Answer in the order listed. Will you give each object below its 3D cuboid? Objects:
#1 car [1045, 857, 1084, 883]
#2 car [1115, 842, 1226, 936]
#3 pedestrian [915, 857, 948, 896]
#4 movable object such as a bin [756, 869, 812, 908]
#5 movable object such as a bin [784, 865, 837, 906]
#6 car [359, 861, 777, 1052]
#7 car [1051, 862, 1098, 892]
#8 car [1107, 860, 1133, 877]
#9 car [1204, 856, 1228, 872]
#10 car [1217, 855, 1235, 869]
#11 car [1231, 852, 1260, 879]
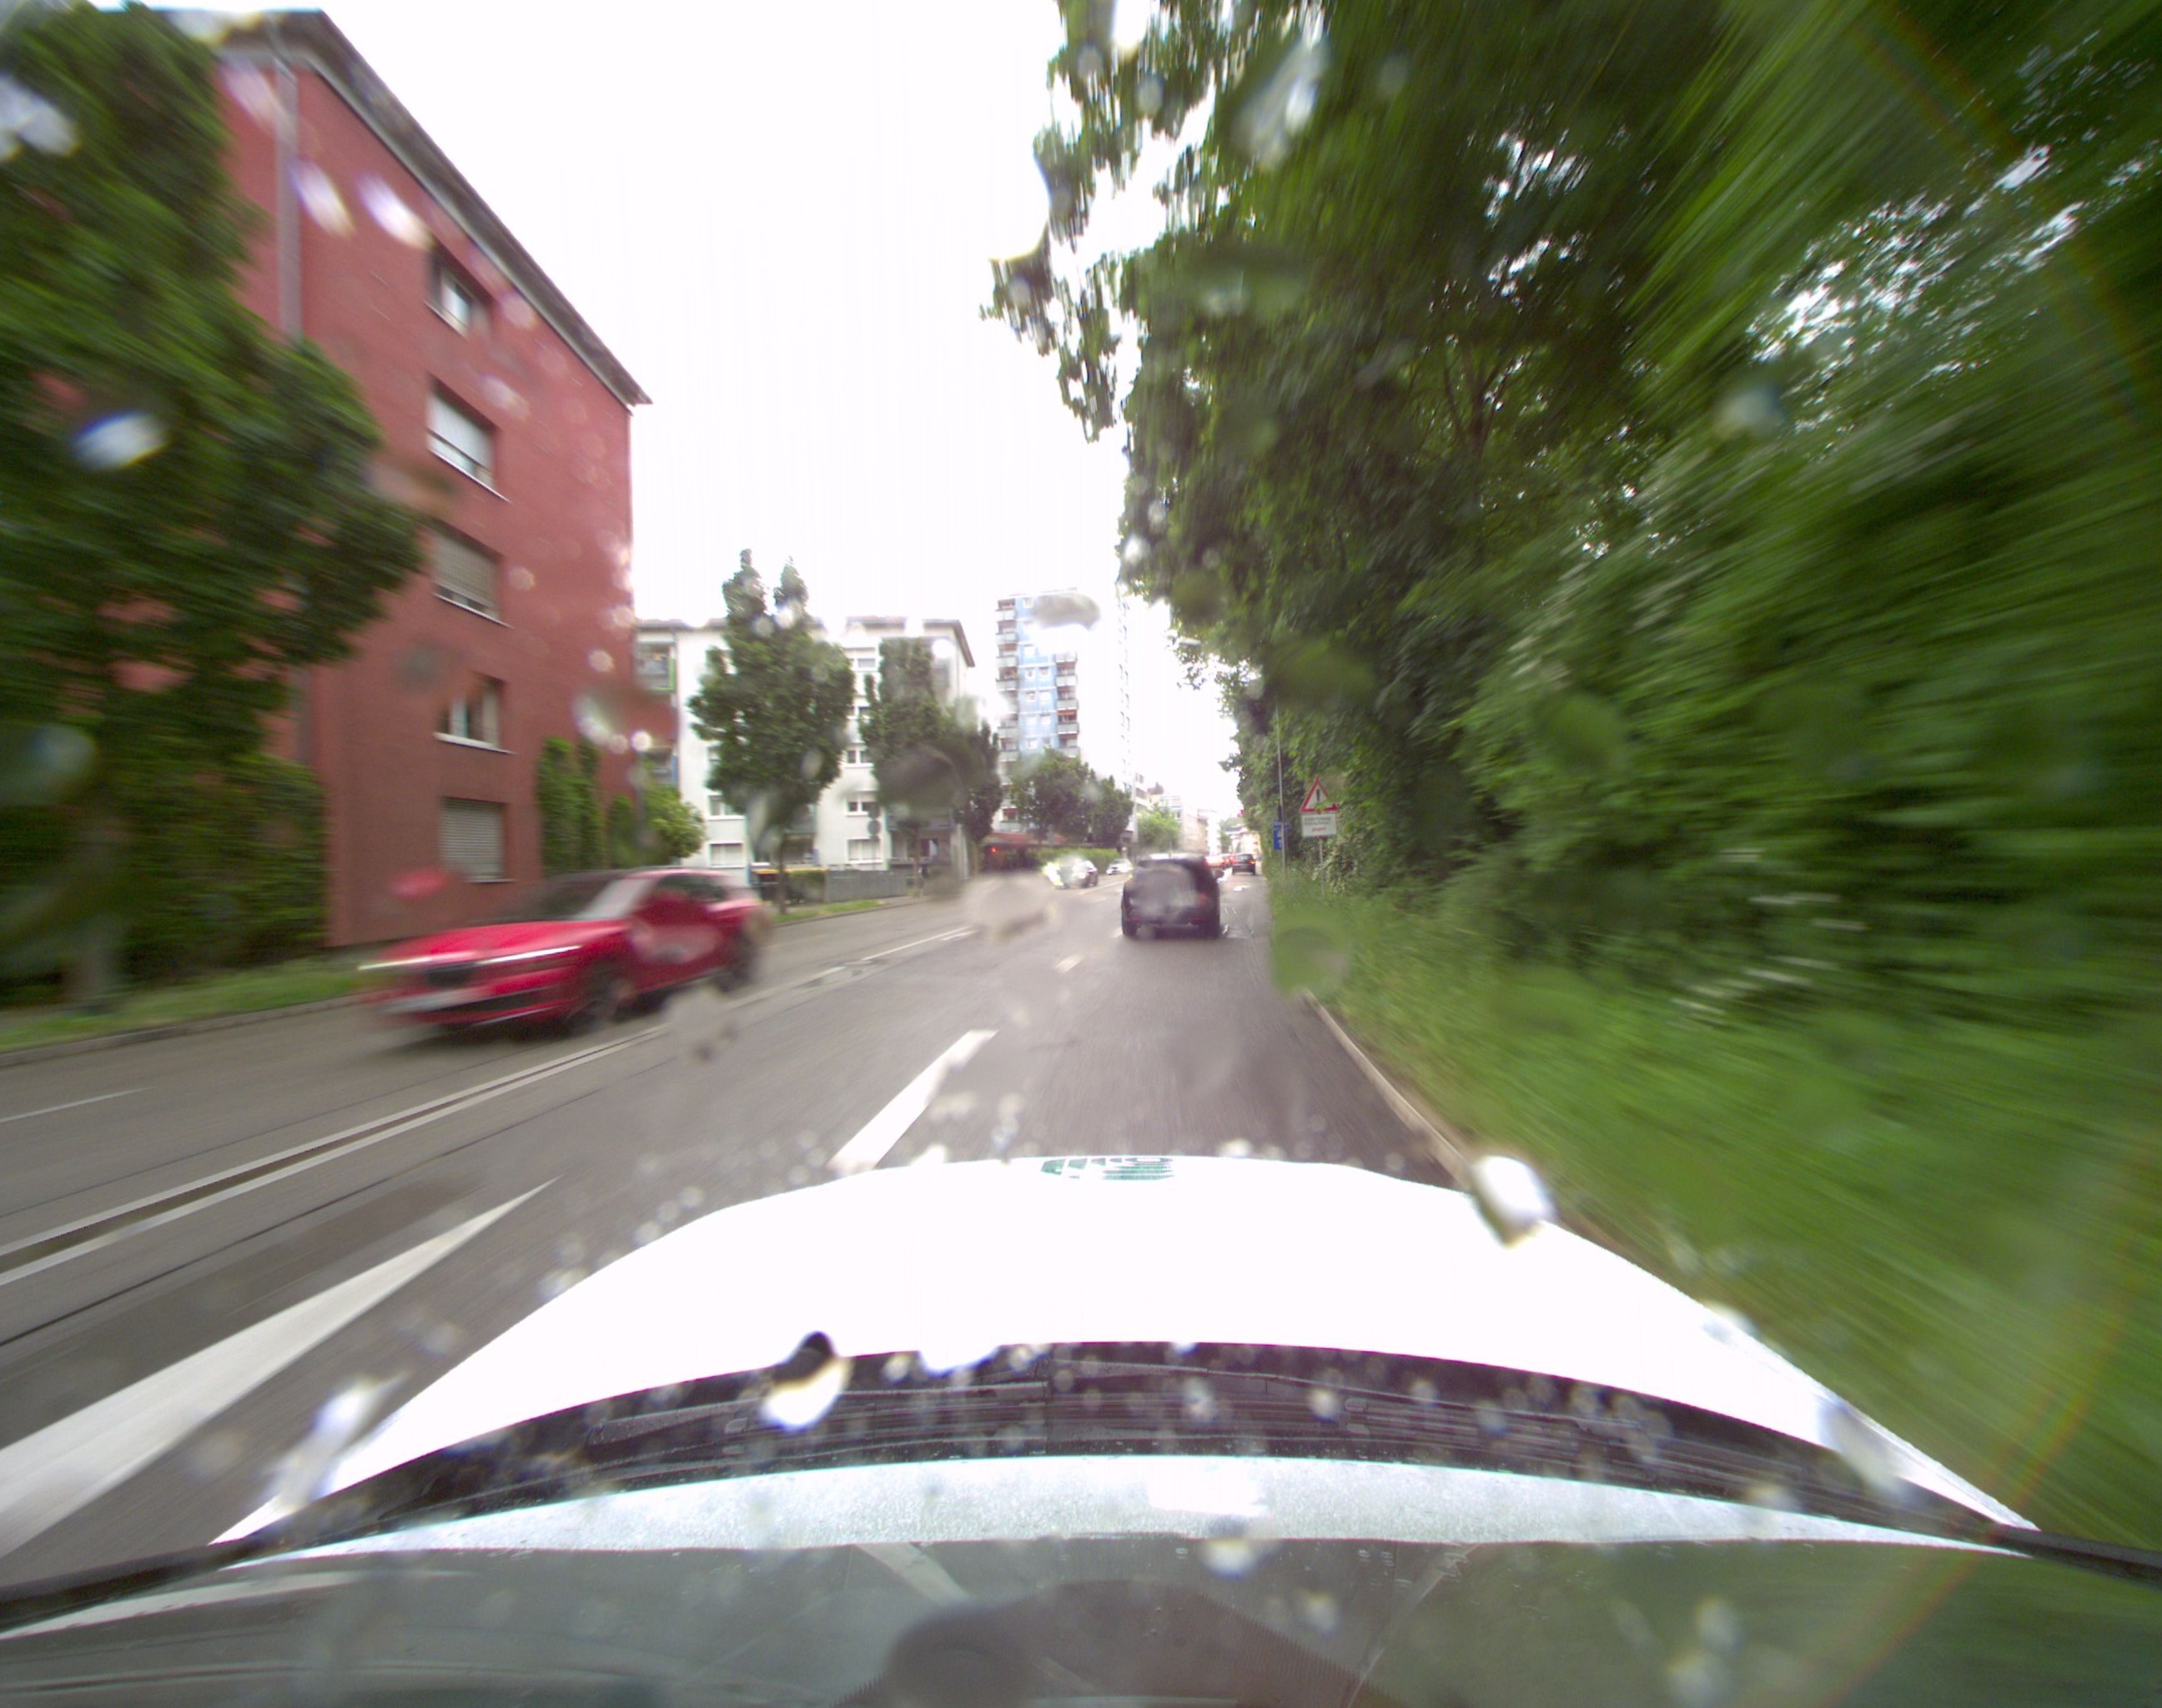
[{"bbox_3d":[-1.080,1.068,56.344,1.863,1.602,4.475,-4,-1,9],"label":"car"},{"bbox_3d":[1.950,0.631,16.740,1.948,1.653,4.011,-2,0,9],"label":"car"},{"bbox_3d":[-7.227,1.082,39.375,1.128,1.804,1.266,-2,-1,9],"label":"pedestrian"},{"bbox_3d":[-11.051,1.256,30.412,1.151,1.331,1.970,-2,0,6],"label":"movable object such as a bin"},{"bbox_3d":[-10.792,1.236,32.580,1.209,1.484,2.091,-2,0,6],"label":"movable object such as a bin"},{"bbox_3d":[-5.119,0.890,8.934,1.668,1.563,4.148,-1,0,5],"label":"car"},{"bbox_3d":[-0.298,1.169,43.370,1.831,1.385,4.368,-4,-1,7],"label":"car"},{"bbox_3d":[3.748,1.347,77.116,1.863,1.390,4.638,-4,-1,9],"label":"car"},{"bbox_3d":[13.442,1.018,80.784,2.052,1.464,4.603,-2,0,13],"label":"car"},{"bbox_3d":[16.050,0.899,89.853,1.732,1.487,4.175,-2,-1,12],"label":"car"},{"bbox_3d":[12.705,0.867,62.692,1.979,2.014,4.015,-2,-1,14],"label":"car"}]
